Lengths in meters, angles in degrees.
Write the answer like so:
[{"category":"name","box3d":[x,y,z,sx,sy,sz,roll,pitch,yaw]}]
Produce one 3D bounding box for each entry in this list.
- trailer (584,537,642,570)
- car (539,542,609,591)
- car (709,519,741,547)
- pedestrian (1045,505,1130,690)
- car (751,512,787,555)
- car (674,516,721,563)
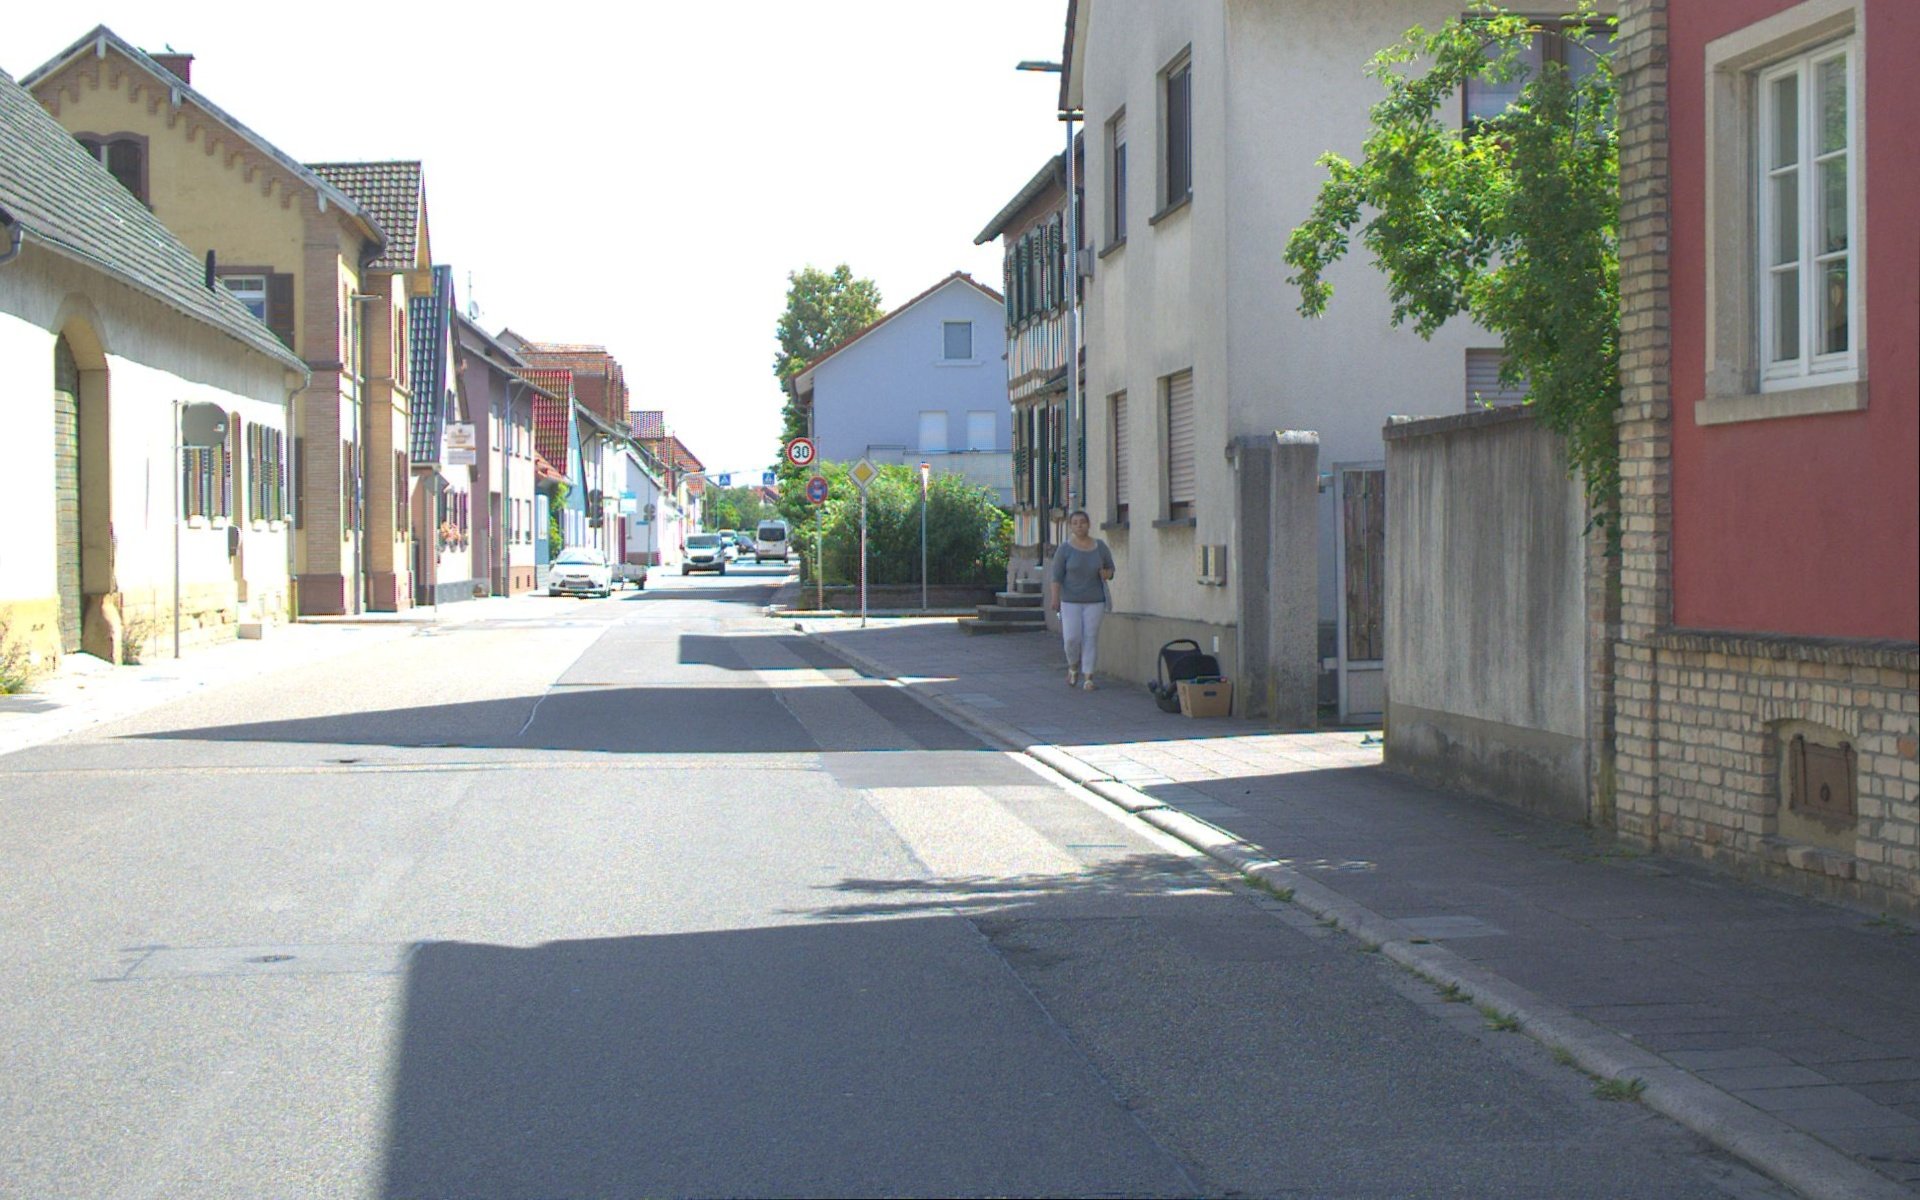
[{"category":"trailer","box3d":[-12.404,-1.678,122.785,1.993,1.086,4.001,-1,2,-7]},{"category":"car","box3d":[-11.907,-1.049,106.263,1.993,1.437,4.001,-1,1,-4]},{"category":"car","box3d":[-14.757,-4.231,215.897,1.993,1.744,4.001,0,1,-4]},{"category":"pedestrian","box3d":[1.157,-0.036,31.351,0.719,1.658,0.892,0,1,-1]},{"category":"car","box3d":[-11.661,-4.088,209.961,2.017,2.559,4.001,-1,1,-5]},{"category":"car","box3d":[-12.516,-2.875,163.642,2.157,2.072,4.000,-1,0,-5]}]
